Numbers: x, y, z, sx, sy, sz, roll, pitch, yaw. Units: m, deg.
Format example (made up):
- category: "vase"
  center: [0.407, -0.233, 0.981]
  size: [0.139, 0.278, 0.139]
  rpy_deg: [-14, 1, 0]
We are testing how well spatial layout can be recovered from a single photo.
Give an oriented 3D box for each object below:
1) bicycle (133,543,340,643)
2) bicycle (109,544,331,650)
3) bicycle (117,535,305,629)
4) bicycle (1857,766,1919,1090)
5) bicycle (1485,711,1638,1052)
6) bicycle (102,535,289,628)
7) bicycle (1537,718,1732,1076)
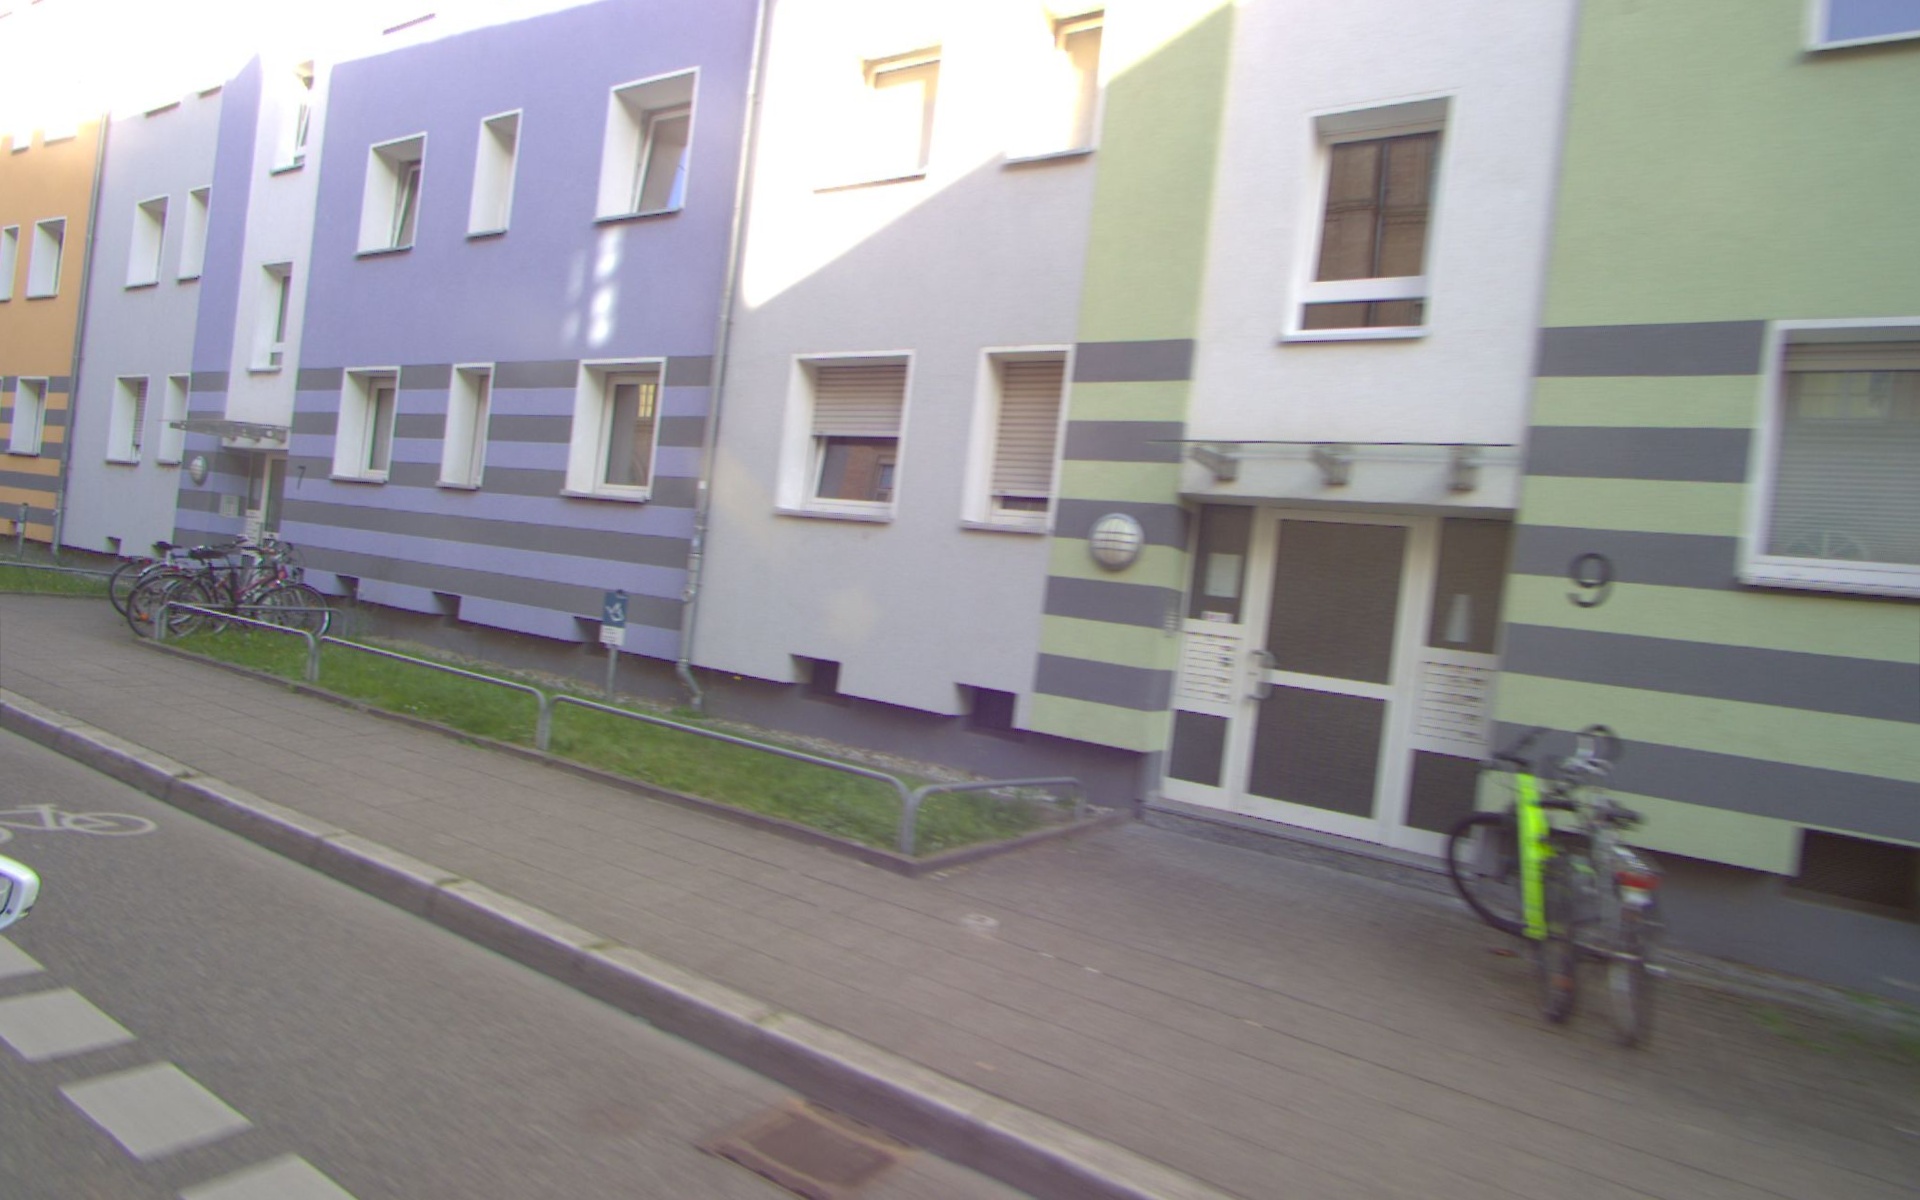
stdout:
- category: "bicycle"
  center: [-8.020, -0.045, 11.241]
  size: [0.542, 0.958, 1.751]
  rpy_deg: [7, 0, 30]
- category: "bicycle"
  center: [-7.704, 0.000, 10.568]
  size: [0.542, 0.958, 1.751]
  rpy_deg: [7, 0, 30]
- category: "bicycle"
  center: [-8.891, -0.184, 12.024]
  size: [0.320, 0.958, 1.750]
  rpy_deg: [7, 0, 31]
- category: "bicycle"
  center: [3.977, 1.337, 3.695]
  size: [0.542, 1.157, 1.749]
  rpy_deg: [8, 3, 30]
- category: "bicycle"
  center: [2.732, 1.182, 4.674]
  size: [0.233, 1.157, 1.605]
  rpy_deg: [7, 3, 22]
- category: "bicycle"
  center: [-9.215, -0.193, 12.207]
  size: [0.329, 0.958, 1.751]
  rpy_deg: [7, 0, 30]
- category: "bicycle"
  center: [2.981, 1.210, 4.569]
  size: [0.278, 1.157, 1.643]
  rpy_deg: [7, 3, 22]
